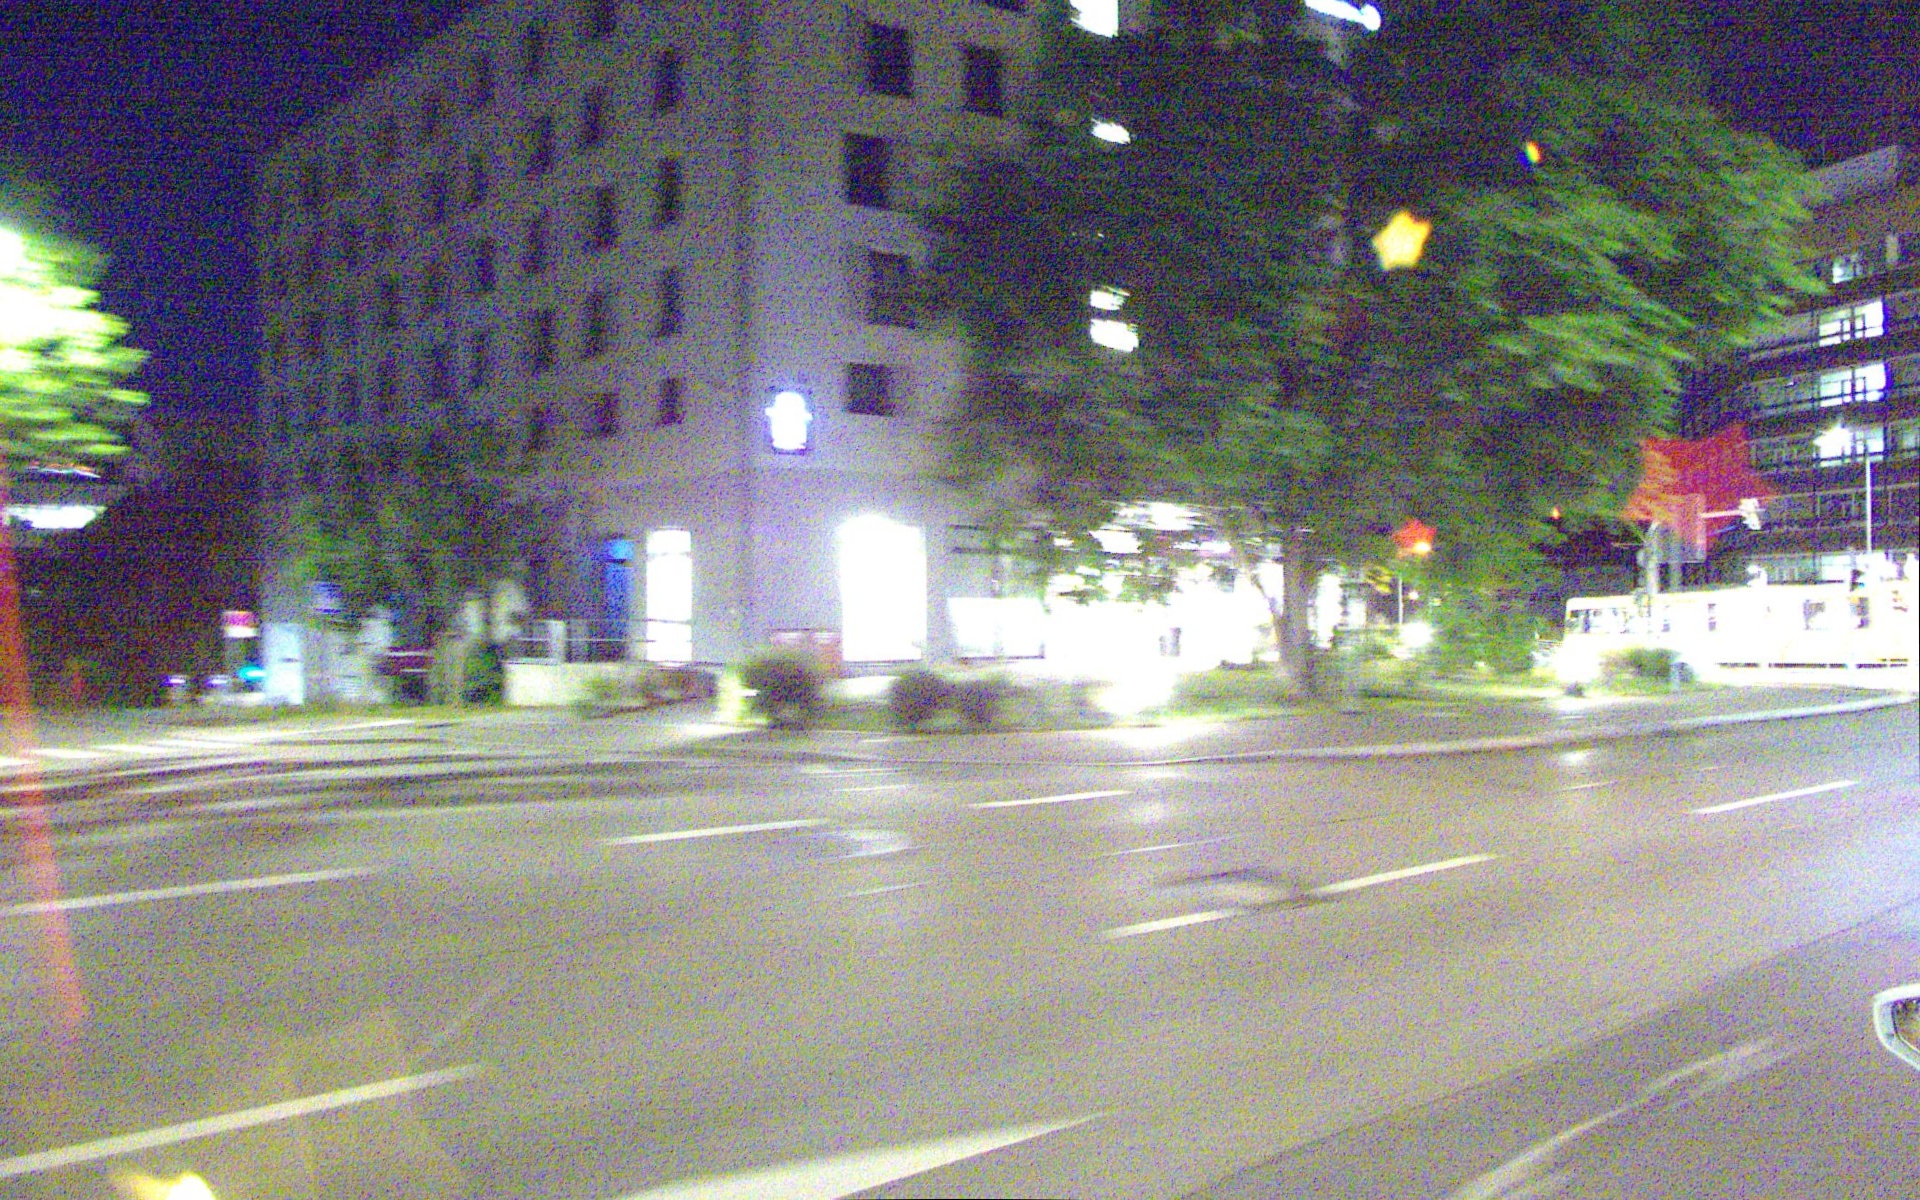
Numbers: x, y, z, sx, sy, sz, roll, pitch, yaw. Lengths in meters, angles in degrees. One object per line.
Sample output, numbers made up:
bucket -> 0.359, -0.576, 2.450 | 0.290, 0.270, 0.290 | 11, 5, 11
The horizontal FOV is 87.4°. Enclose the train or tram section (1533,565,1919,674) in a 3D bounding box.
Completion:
train or tram section -> 33.758, 0.947, 41.347 | 2.899, 3.912, 19.748 | 0, -3, -24

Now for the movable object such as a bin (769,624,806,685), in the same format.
movable object such as a bin -> -4.080, 1.289, 23.751 | 0.723, 1.388, 0.355 | -3, -1, -29

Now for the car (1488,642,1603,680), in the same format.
car -> 24.209, 2.485, 41.695 | 1.881, 1.499, 3.756 | 1, -3, -22

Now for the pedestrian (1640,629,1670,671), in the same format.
pedestrian -> 29.588, 2.140, 42.759 | 0.651, 1.760, 0.761 | 0, -3, -29

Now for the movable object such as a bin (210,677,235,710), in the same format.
movable object such as a bin -> -29.819, 3.770, 40.605 | 0.608, 1.324, 0.569 | -3, -4, 22

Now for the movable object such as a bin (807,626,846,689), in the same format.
movable object such as a bin -> -3.198, 1.375, 24.058 | 0.798, 1.471, 0.439 | -1, -2, -27
